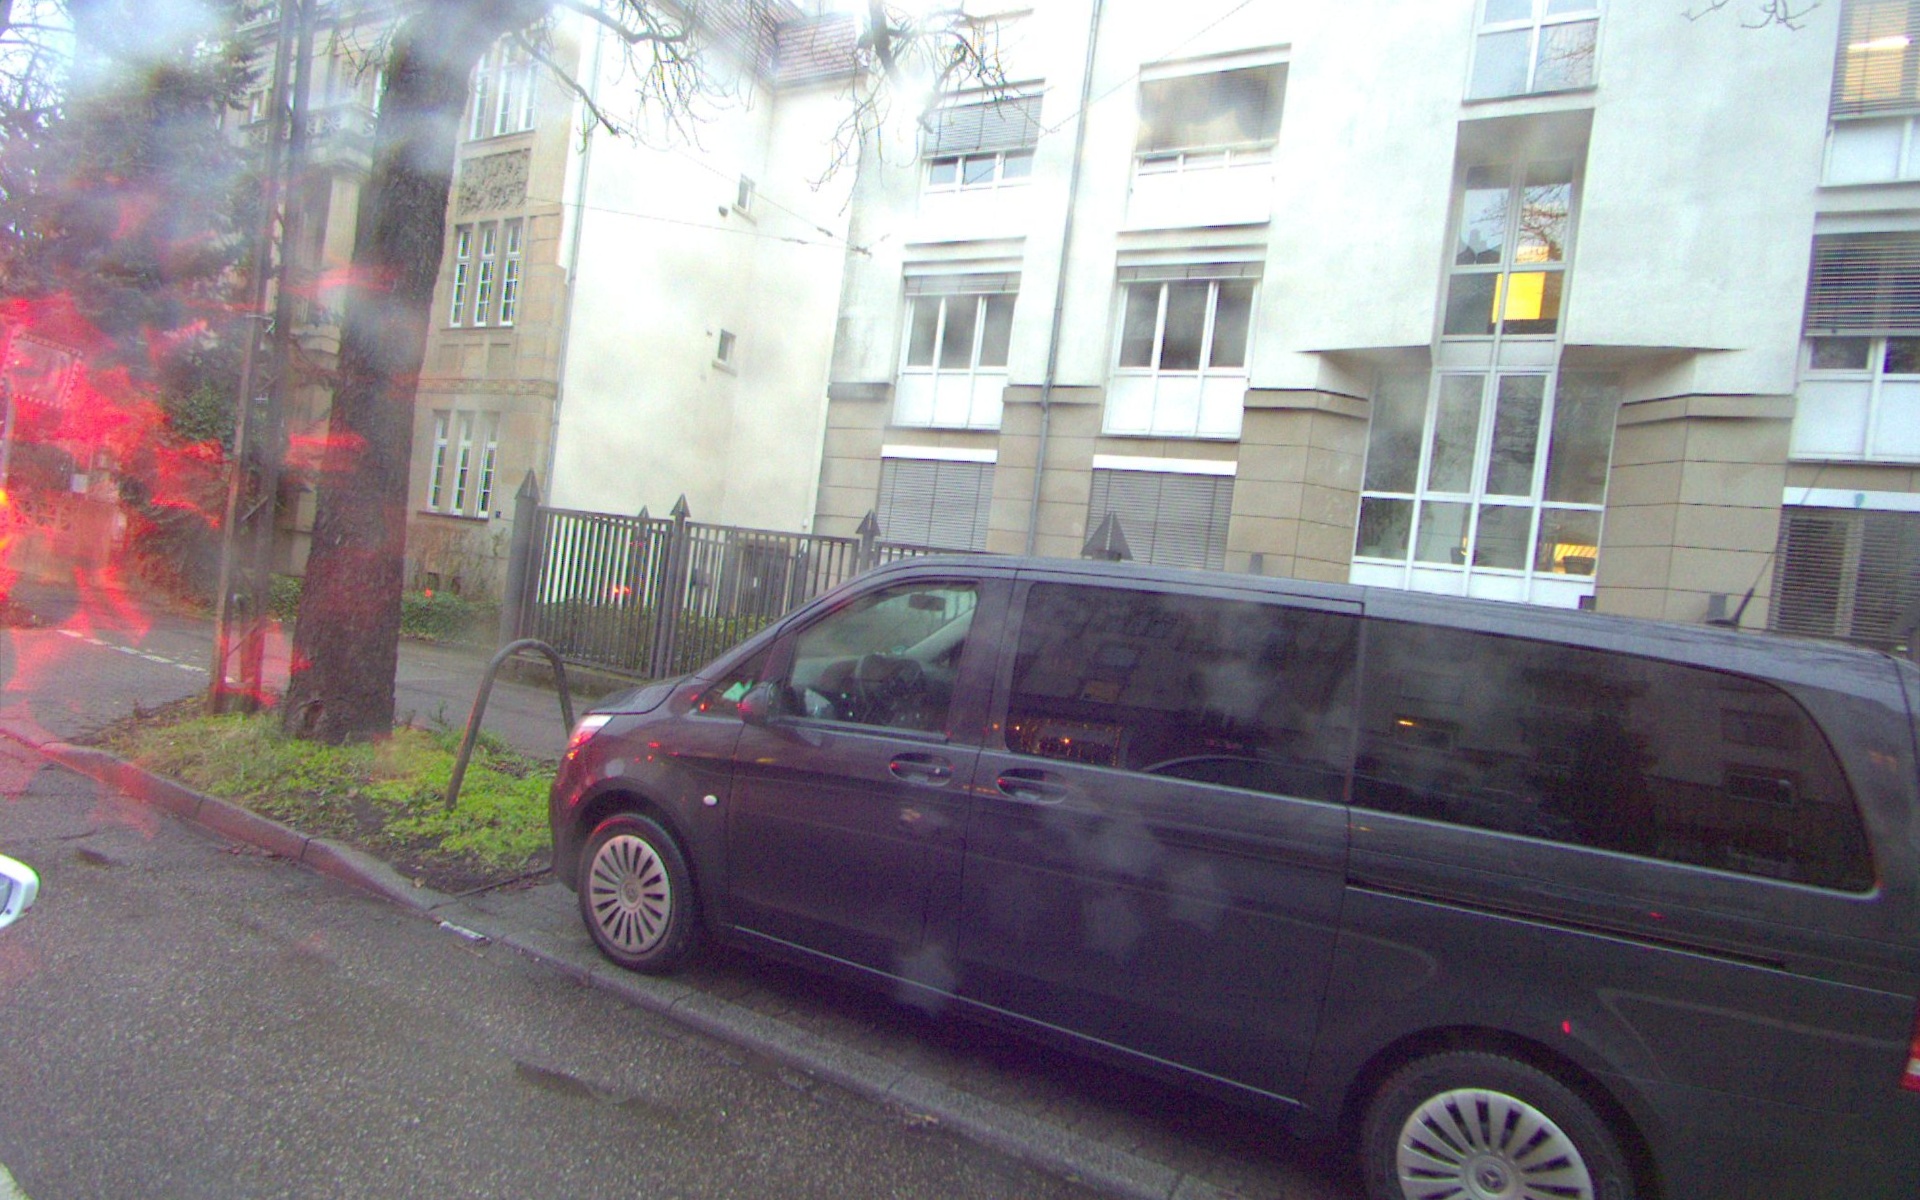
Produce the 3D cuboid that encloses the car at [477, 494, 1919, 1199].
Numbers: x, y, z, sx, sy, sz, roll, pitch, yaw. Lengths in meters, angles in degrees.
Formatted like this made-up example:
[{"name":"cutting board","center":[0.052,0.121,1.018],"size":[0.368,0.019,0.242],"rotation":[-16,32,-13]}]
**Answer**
[{"name":"car","center":[0.619,0.820,4.097],"size":[4.877,1.899,2.035],"rotation":[7,0,28]}]
